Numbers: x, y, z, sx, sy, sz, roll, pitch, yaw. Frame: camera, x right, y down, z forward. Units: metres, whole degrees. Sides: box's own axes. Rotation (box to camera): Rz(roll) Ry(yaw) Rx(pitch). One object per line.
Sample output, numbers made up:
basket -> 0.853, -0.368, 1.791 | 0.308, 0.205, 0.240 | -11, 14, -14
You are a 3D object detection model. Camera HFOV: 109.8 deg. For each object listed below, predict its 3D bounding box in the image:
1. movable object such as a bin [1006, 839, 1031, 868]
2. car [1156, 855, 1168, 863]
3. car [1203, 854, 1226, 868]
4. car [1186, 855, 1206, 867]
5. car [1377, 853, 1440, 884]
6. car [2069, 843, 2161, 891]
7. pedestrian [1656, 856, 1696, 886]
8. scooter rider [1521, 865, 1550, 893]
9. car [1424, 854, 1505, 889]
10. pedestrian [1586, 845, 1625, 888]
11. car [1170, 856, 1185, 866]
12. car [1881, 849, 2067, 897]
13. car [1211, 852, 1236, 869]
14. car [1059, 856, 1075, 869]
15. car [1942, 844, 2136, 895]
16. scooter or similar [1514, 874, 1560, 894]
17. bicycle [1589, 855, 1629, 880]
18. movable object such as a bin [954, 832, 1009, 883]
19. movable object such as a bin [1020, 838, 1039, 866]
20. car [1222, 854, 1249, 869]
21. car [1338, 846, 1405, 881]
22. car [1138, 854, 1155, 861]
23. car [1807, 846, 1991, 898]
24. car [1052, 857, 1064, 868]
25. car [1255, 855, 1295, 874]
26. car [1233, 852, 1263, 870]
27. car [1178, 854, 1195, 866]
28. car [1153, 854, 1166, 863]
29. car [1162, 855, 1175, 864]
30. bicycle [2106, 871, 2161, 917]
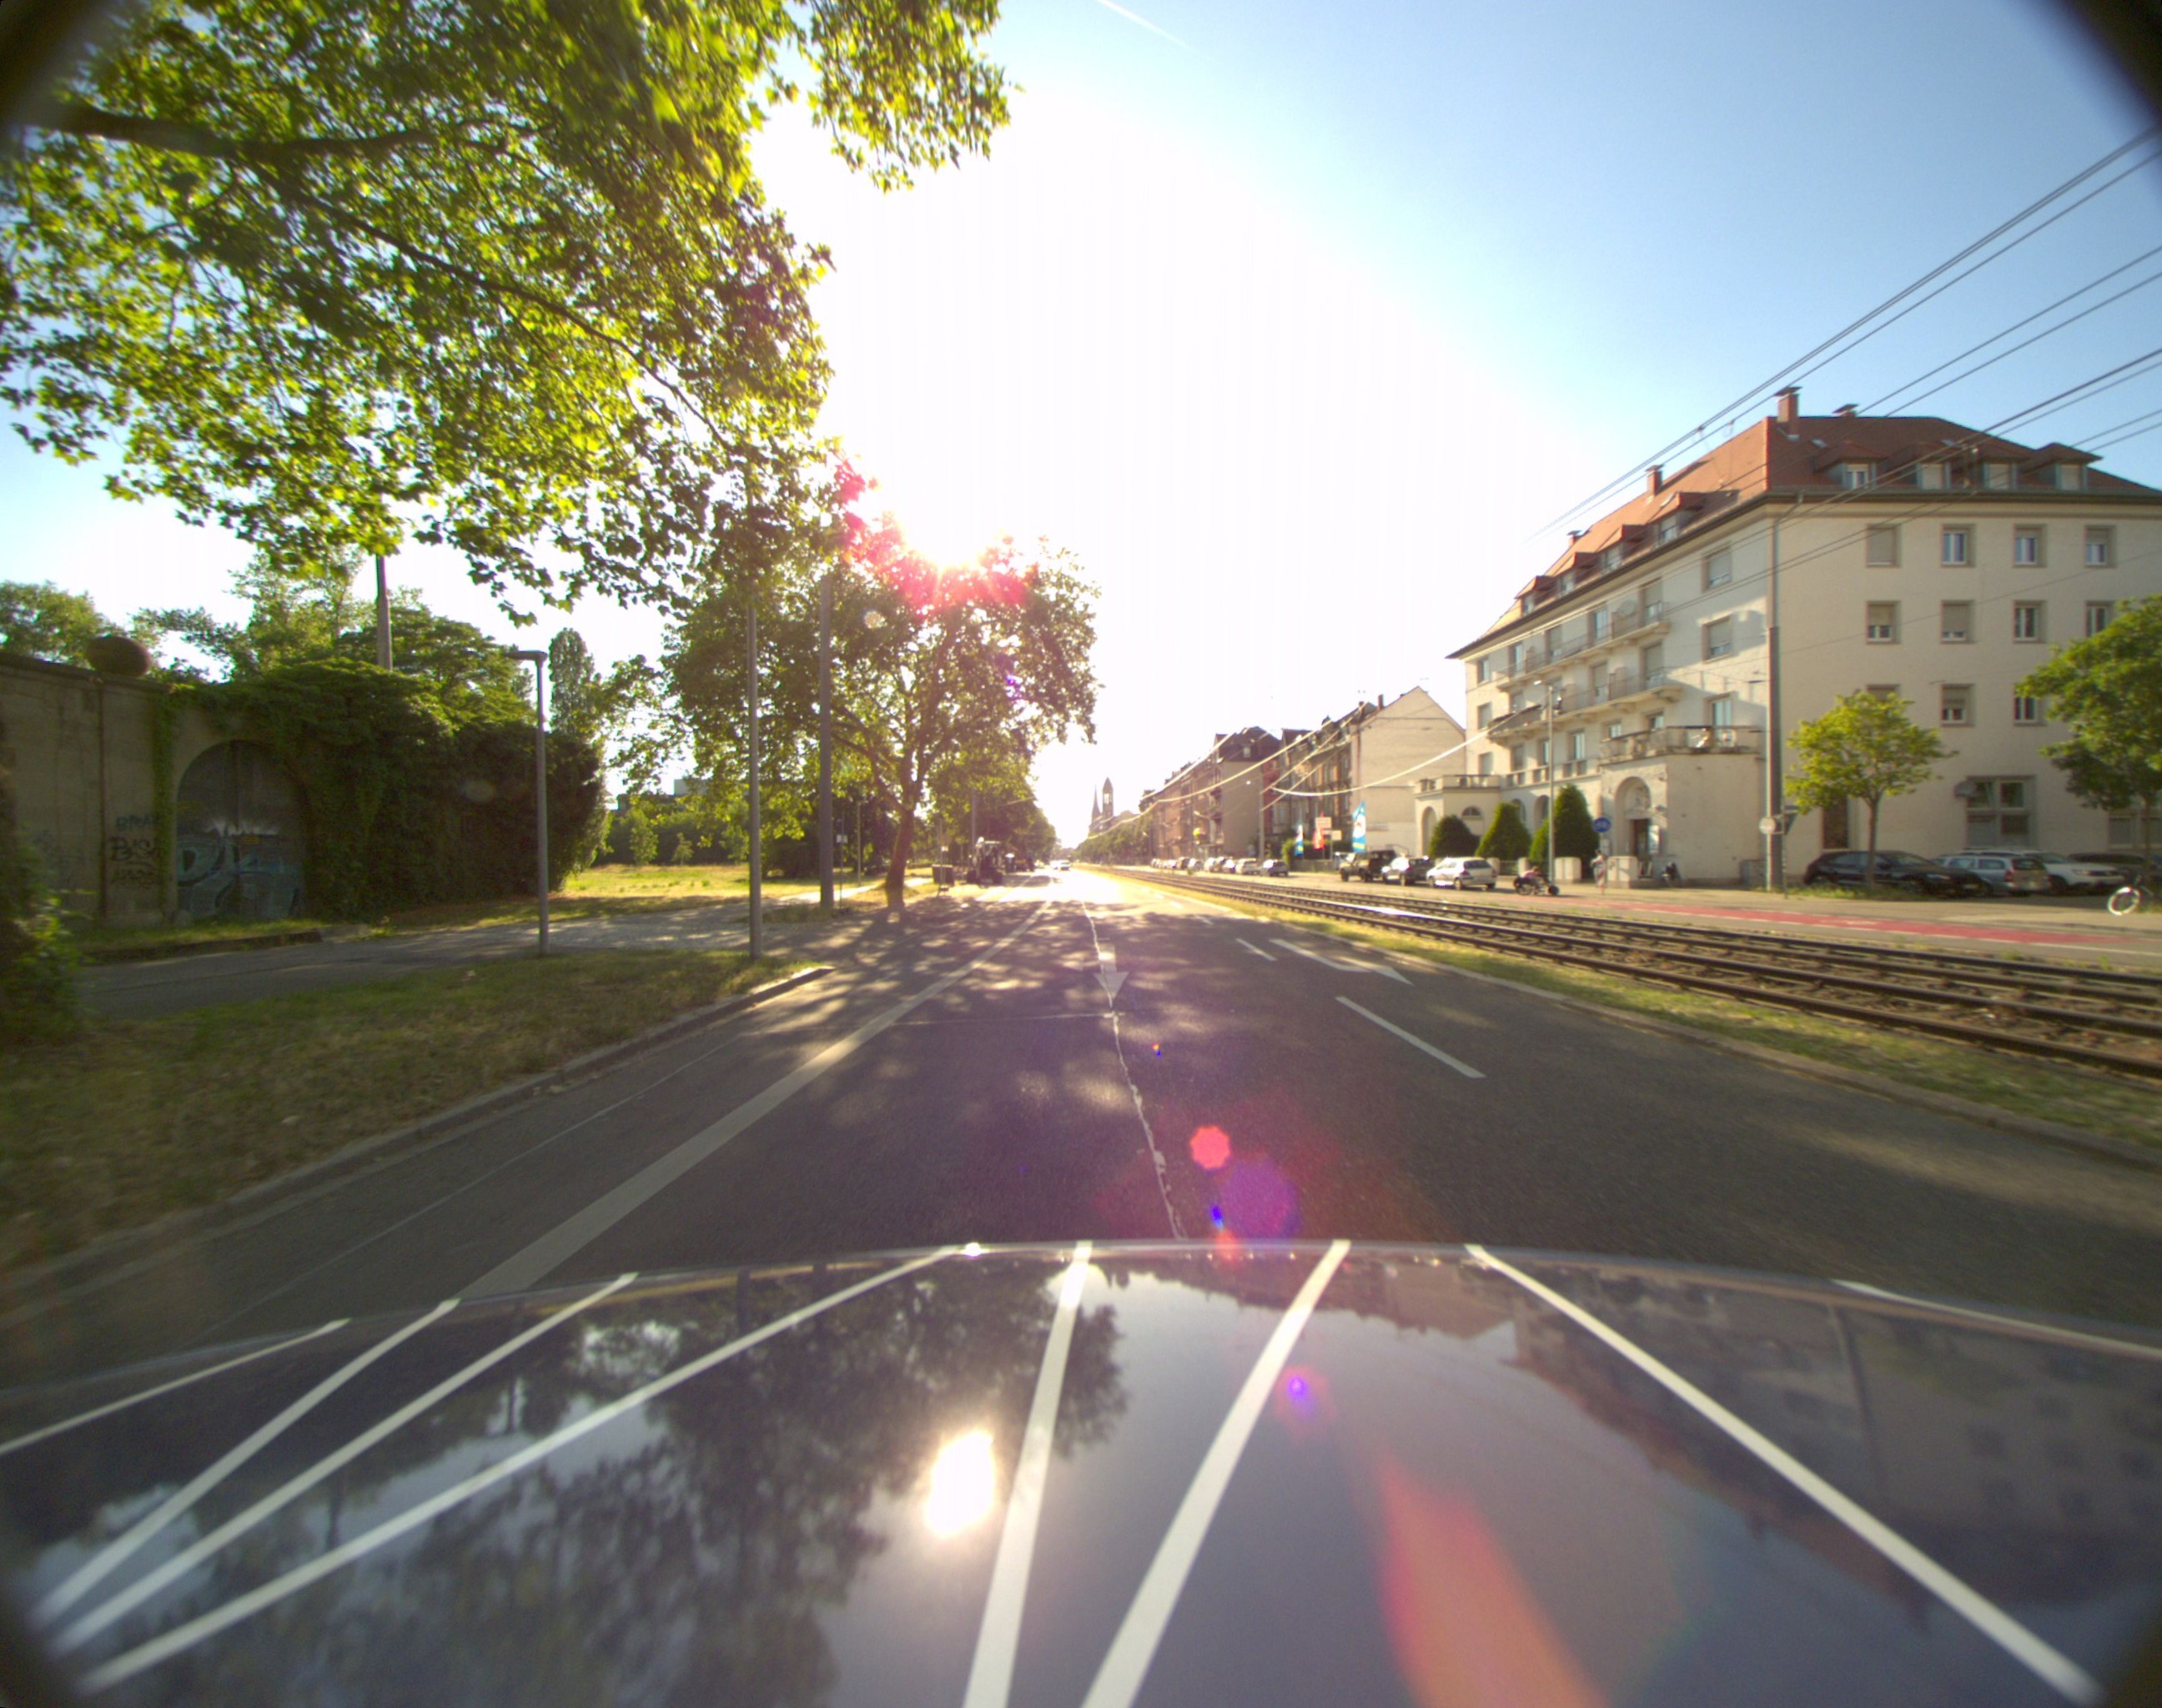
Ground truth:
movable object such as a bin -> -9.120, -0.074, 110.813 | 3.348, 3.953, 7.595 | 2, 0, -4
car -> 14.976, 0.959, 140.191 | 1.664, 1.437, 3.764 | -3, 0, -2
car -> 16.557, 0.883, 94.443 | 1.926, 1.673, 4.626 | -1, -1, -3
car -> 16.187, 0.977, 107.545 | 1.926, 1.529, 4.626 | -2, 0, -2
car -> 18.336, 0.774, 42.717 | 1.639, 1.498, 4.158 | -3, 1, 0
car -> 38.899, 0.457, 27.174 | 1.799, 1.649, 3.998 | -1, 1, -3
pedestrian -> 24.511, 0.695, 31.317 | 0.879, 1.180, 0.894 | -3, 1, -10
scooter rider -> 18.161, 1.004, 30.390 | 0.976, 1.082, 0.809 | 0, 0, 29
car -> 18.631, 0.816, 37.107 | 1.799, 1.501, 3.999 | -3, 1, -1
pedestrian -> 22.478, 0.508, 32.575 | 0.995, 1.767, 0.934 | -3, 1, -17
car -> 15.128, 1.081, 119.504 | 1.664, 1.437, 3.980 | -3, 0, -2
car -> 31.534, 0.603, 27.043 | 1.799, 1.502, 3.998 | -1, 1, -3
car -> 16.666, 0.761, 89.266 | 1.925, 1.770, 4.498 | -3, 0, -1
car -> -1.815, 1.102, 97.614 | 1.799, 1.501, 3.999 | -3, 0, -2
car -> 34.112, 0.481, 27.245 | 1.799, 1.649, 3.998 | -1, 1, -3
scooter or similar -> 18.200, 1.189, 30.374 | 1.565, 0.766, 0.809 | 0, 0, 29
bicycle -> 24.466, 0.611, 35.220 | 0.465, 1.081, 1.623 | -3, 1, -10
movable object such as a bin -> -6.595, 0.235, 51.401 | 2.751, 3.127, 7.218 | 2, 0, -1
movable object such as a bin -> -8.893, -0.261, 130.754 | 2.923, 4.583, 7.595 | 2, 0, -4
car -> 16.938, 0.825, 83.444 | 1.925, 1.551, 4.842 | -1, 0, 0
car -> 18.571, 0.580, 48.909 | 2.082, 1.998, 5.591 | -3, 0, 0
car -> 16.239, 0.774, 188.342 | 3.992, 1.502, 1.802 | -3, 1, 19
car -> 28.758, 0.564, 26.954 | 1.799, 1.631, 4.260 | -1, 1, -3
car -> -3.623, 1.346, 121.417 | 1.799, 1.501, 3.999 | -3, 0, -2
car -> 17.392, 0.900, 68.388 | 1.926, 1.452, 4.840 | -6, 0, -4
car -> 17.032, 0.670, 77.704 | 1.925, 1.684, 4.842 | -3, 0, 0
car -> 15.816, 0.882, 114.154 | 1.664, 1.797, 4.727 | -3, 0, -4
car -> 14.948, 0.829, 144.878 | 1.799, 1.633, 4.630 | -3, 0, 0
car -> 15.008, 0.921, 130.329 | 1.664, 1.437, 3.980 | -3, 0, -2
bicycle -> 25.513, 0.938, 17.433 | 0.685, 1.010, 2.413 | -3, 0, 0
